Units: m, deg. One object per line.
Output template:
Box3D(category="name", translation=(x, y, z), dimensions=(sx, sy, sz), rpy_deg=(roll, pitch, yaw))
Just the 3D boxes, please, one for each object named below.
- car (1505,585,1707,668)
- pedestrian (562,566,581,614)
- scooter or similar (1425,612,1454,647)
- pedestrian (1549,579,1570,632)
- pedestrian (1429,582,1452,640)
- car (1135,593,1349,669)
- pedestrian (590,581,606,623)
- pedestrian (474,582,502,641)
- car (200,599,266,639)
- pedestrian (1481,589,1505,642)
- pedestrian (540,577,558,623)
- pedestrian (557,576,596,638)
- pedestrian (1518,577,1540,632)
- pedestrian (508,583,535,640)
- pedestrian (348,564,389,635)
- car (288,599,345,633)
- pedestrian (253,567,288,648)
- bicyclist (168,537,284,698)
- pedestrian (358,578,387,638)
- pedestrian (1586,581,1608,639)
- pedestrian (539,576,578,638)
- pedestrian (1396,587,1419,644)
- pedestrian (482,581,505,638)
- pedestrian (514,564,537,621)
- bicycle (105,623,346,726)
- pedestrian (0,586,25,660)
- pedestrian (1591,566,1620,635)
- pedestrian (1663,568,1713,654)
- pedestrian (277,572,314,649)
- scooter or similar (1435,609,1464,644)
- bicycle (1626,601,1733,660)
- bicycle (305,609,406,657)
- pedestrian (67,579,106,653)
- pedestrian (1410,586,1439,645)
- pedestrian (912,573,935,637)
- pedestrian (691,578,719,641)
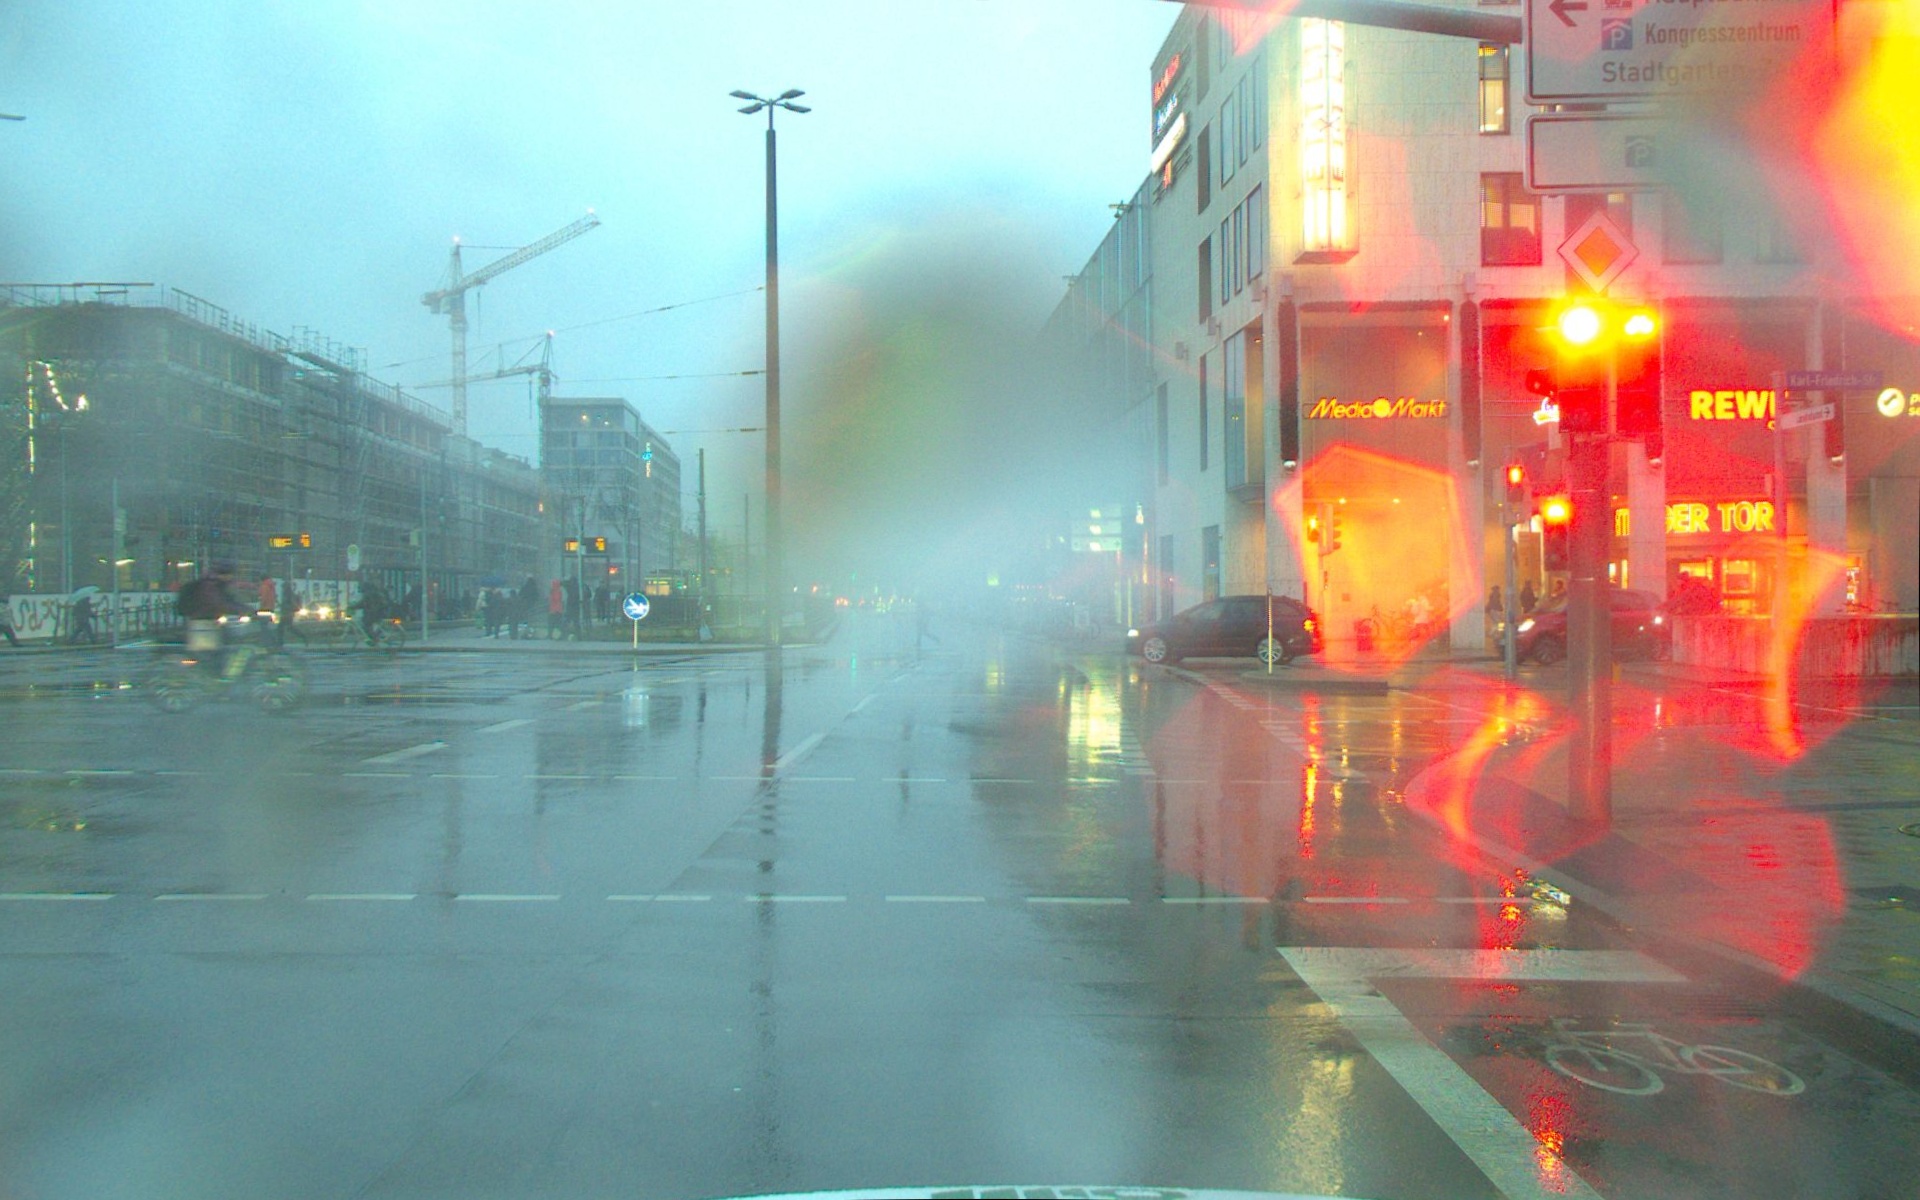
Box3D(category="car", translation=(13.259, 0.534, 34.064), dimensions=(3.498, 1.610, 1.675), rpy_deg=(-1, -1, -3))
Box3D(category="pedestrian", translation=(-14.756, -0.379, 62.765), dimensions=(0.648, 1.776, 0.734), rpy_deg=(-1, 0, -11))
Box3D(category="scooter or similar", translation=(14.044, 0.863, 48.423), dimensions=(0.726, 1.011, 0.400), rpy_deg=(-1, 0, 0))
Box3D(category="pedestrian", translation=(20.035, 0.184, 55.288), dimensions=(0.526, 1.748, 0.500), rpy_deg=(-1, 0, 37))
Box3D(category="pedestrian", translation=(14.676, 0.325, 50.511), dimensions=(0.526, 1.748, 0.500), rpy_deg=(-1, 0, 37))
Box3D(category="car", translation=(6.265, 0.669, 36.670), dimensions=(4.442, 1.601, 1.797), rpy_deg=(-1, 0, 19))
Box3D(category="pedestrian", translation=(-15.558, 0.077, 71.156), dimensions=(0.648, 1.776, 0.619), rpy_deg=(-1, 0, -11))
Box3D(category="pedestrian", translation=(-14.464, 0.342, 50.682), dimensions=(0.605, 1.776, 0.613), rpy_deg=(-1, 0, 13))
Box3D(category="car", translation=(-38.442, 0.970, 87.588), dimensions=(1.954, 2.049, 3.996), rpy_deg=(-1, 0, -5))
Box3D(category="pedestrian", translation=(16.011, 0.465, 49.666), dimensions=(0.526, 1.570, 0.500), rpy_deg=(-1, 0, 37))
Box3D(category="pedestrian", translation=(-16.129, -0.004, 64.880), dimensions=(0.599, 1.776, 0.620), rpy_deg=(-1, 0, -6))
Box3D(category="pedestrian", translation=(-10.748, 0.208, 46.376), dimensions=(0.826, 1.718, 0.677), rpy_deg=(-1, 0, 23))
Box3D(category="pedestrian", translation=(18.276, 0.141, 53.152), dimensions=(0.526, 1.748, 0.500), rpy_deg=(-1, 0, 37))
Box3D(category="pedestrian", translation=(-12.757, 0.340, 48.173), dimensions=(0.730, 1.635, 0.809), rpy_deg=(-1, 0, -15))
Box3D(category="pedestrian", translation=(-13.487, -0.006, 37.744), dimensions=(0.800, 1.598, 0.535), rpy_deg=(0, -3, -11))
Box3D(category="car", translation=(-39.584, 0.974, 101.769), dimensions=(1.953, 2.049, 3.999), rpy_deg=(-1, 0, -1))
Box3D(category="pedestrian", translation=(-18.140, 0.197, 43.516), dimensions=(0.682, 2.124, 0.604), rpy_deg=(0, 0, -41))
Box3D(category="bicyclist", translation=(-8.037, 0.187, 18.141), dimensions=(1.014, 1.726, 0.616), rpy_deg=(-1, 0, -8))
Box3D(category="pedestrian", translation=(-16.339, 0.228, 45.993), dimensions=(0.671, 1.647, 0.702), rpy_deg=(-1, 0, -29))
Box3D(category="pedestrian", translation=(19.520, 0.303, 50.663), dimensions=(0.501, 1.791, 0.374), rpy_deg=(-1, 0, -1))
Box3D(category="pedestrian", translation=(-11.118, 0.197, 45.801), dimensions=(0.815, 1.709, 0.618), rpy_deg=(-1, 0, 28))
Box3D(category="pedestrian", translation=(13.627, 0.470, 50.390), dimensions=(0.526, 1.748, 0.500), rpy_deg=(-1, 0, 37))
Box3D(category="pedestrian", translation=(-13.553, 0.278, 48.042), dimensions=(0.601, 1.647, 0.706), rpy_deg=(-1, 0, -15))
Box3D(category="pedestrian", translation=(-13.668, -0.226, 52.059), dimensions=(0.607, 1.776, 0.612), rpy_deg=(-1, 0, -6))
Box3D(category="bicycle", translation=(-8.037, 0.803, 18.174), dimensions=(2.328, 1.051, 0.616), rpy_deg=(-1, 0, -8))
Box3D(category="pedestrian", translation=(-26.431, 0.633, 46.027), dimensions=(0.498, 2.049, 0.638), rpy_deg=(-1, 0, -11))
Box3D(category="pedestrian", translation=(16.274, 0.013, 41.684), dimensions=(0.526, 1.715, 0.547), rpy_deg=(-1, 0, 37))
Box3D(category="pedestrian", translation=(13.983, 0.205, 31.789), dimensions=(0.764, 1.623, 0.613), rpy_deg=(-1, 0, 14))
Box3D(category="pedestrian", translation=(-17.840, 0.286, 44.427), dimensions=(0.770, 2.049, 0.604), rpy_deg=(0, 0, -39))
Box3D(category="scooter or similar", translation=(14.321, 0.771, 48.396), dimensions=(0.726, 1.011, 0.400), rpy_deg=(-1, 0, -1))
Box3D(category="bicycle", translation=(13.842, 0.590, 31.853), dimensions=(1.806, 1.112, 0.618), rpy_deg=(-1, 0, 14))
Box3D(category="bicycle", translation=(-13.748, 0.751, 37.662), dimensions=(2.089, 1.009, 0.540), rpy_deg=(-1, -4, -10))
Box3D(category="pedestrian", translation=(-24.453, 0.448, 46.308), dimensions=(0.778, 2.049, 0.745), rpy_deg=(-1, 0, -11))
Box3D(category="pedestrian", translation=(13.591, 0.450, 48.373), dimensions=(0.726, 1.696, 0.400), rpy_deg=(-1, 0, -1))
Box3D(category="pedestrian", translation=(-1.042, 0.146, 47.396), dimensions=(0.620, 1.803, 0.483), rpy_deg=(-1, 0, -2))
Box3D(category="pedestrian", translation=(-7.316, 0.262, 47.515), dimensions=(0.688, 1.791, 0.652), rpy_deg=(-1, 0, -1))
